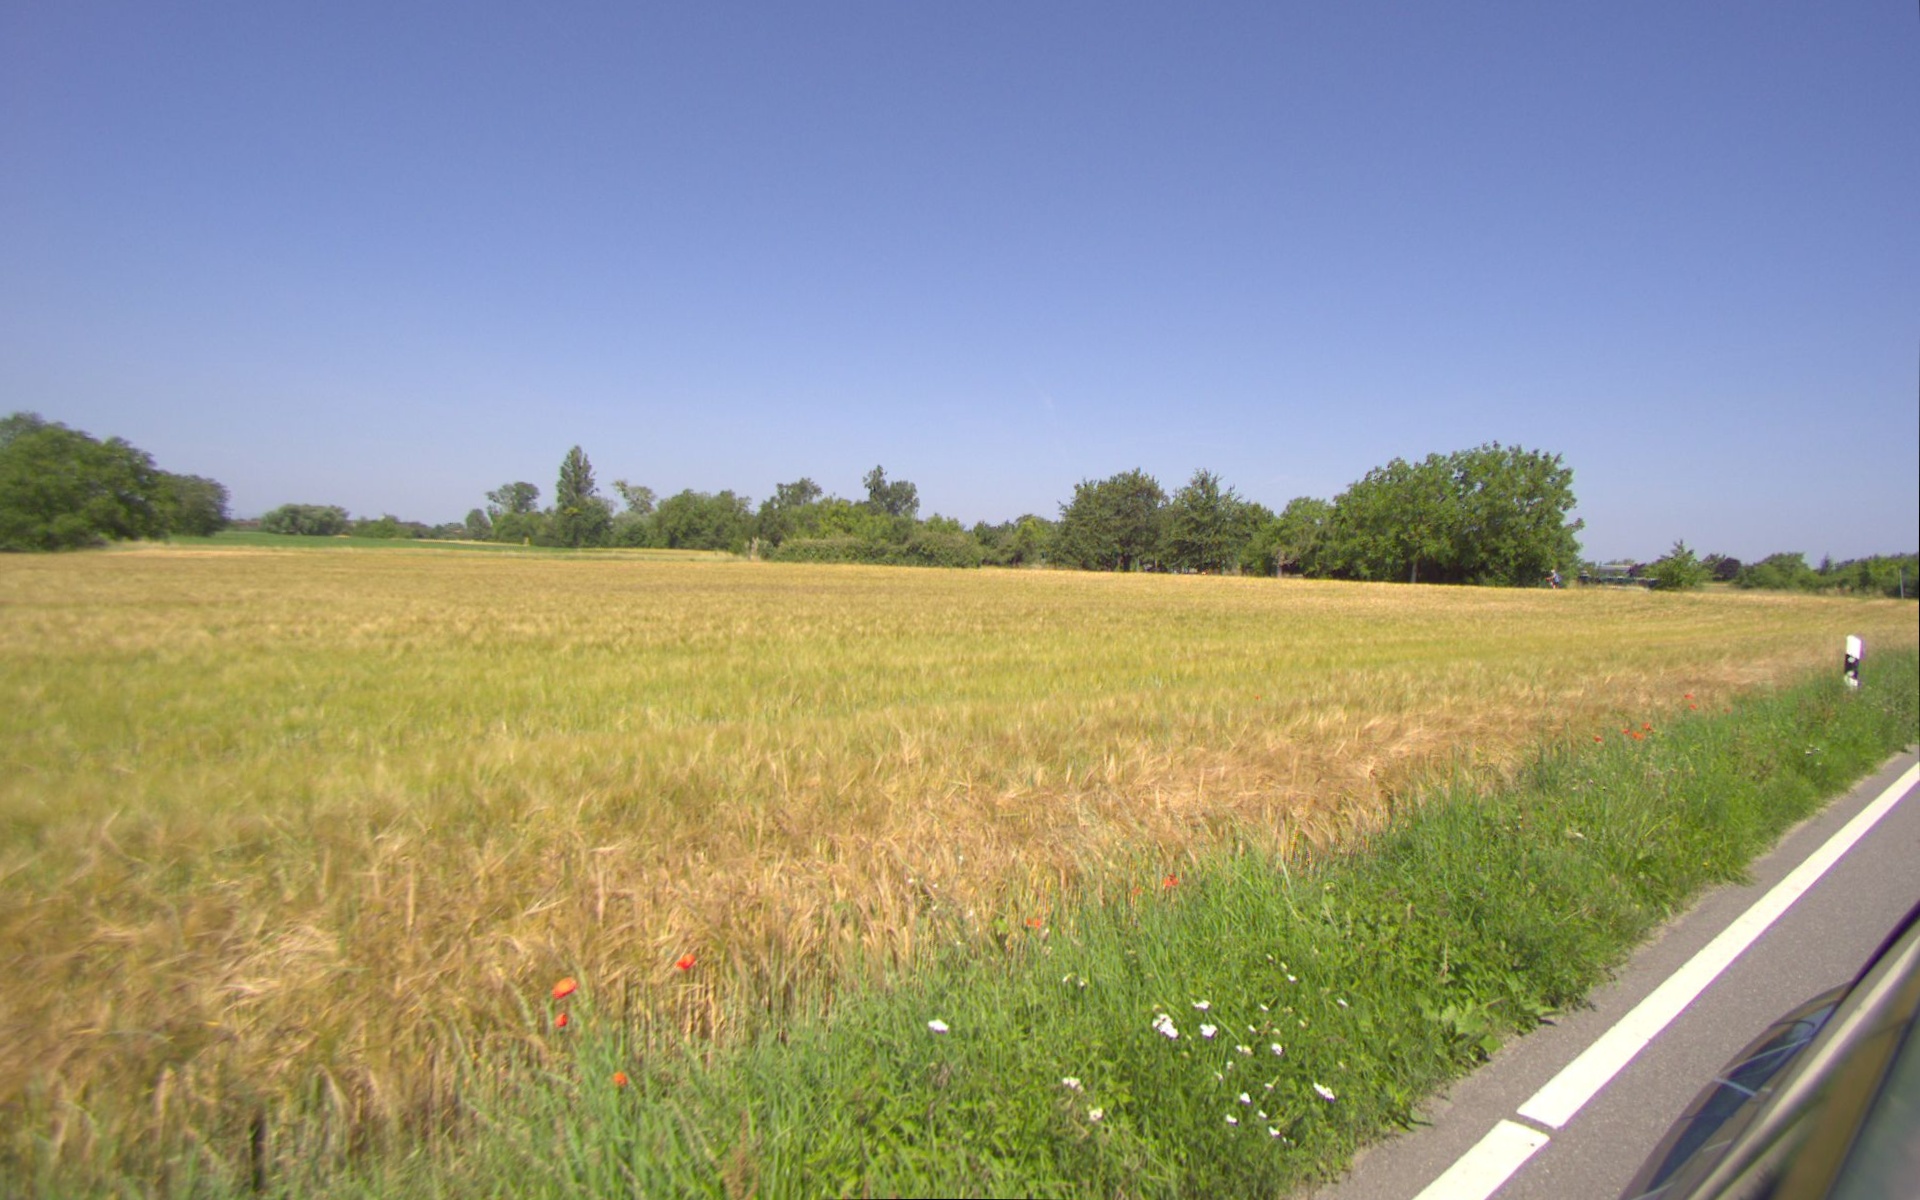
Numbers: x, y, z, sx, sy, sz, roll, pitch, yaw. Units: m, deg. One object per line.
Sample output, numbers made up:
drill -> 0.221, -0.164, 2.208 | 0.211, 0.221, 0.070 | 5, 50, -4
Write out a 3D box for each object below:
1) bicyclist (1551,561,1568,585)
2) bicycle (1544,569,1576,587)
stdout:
bicyclist -> 40.441, -1.835, 68.244 | 0.723, 1.593, 0.674 | 2, 2, 6
bicycle -> 40.459, -1.462, 68.255 | 1.739, 1.129, 0.521 | 2, 2, 7
